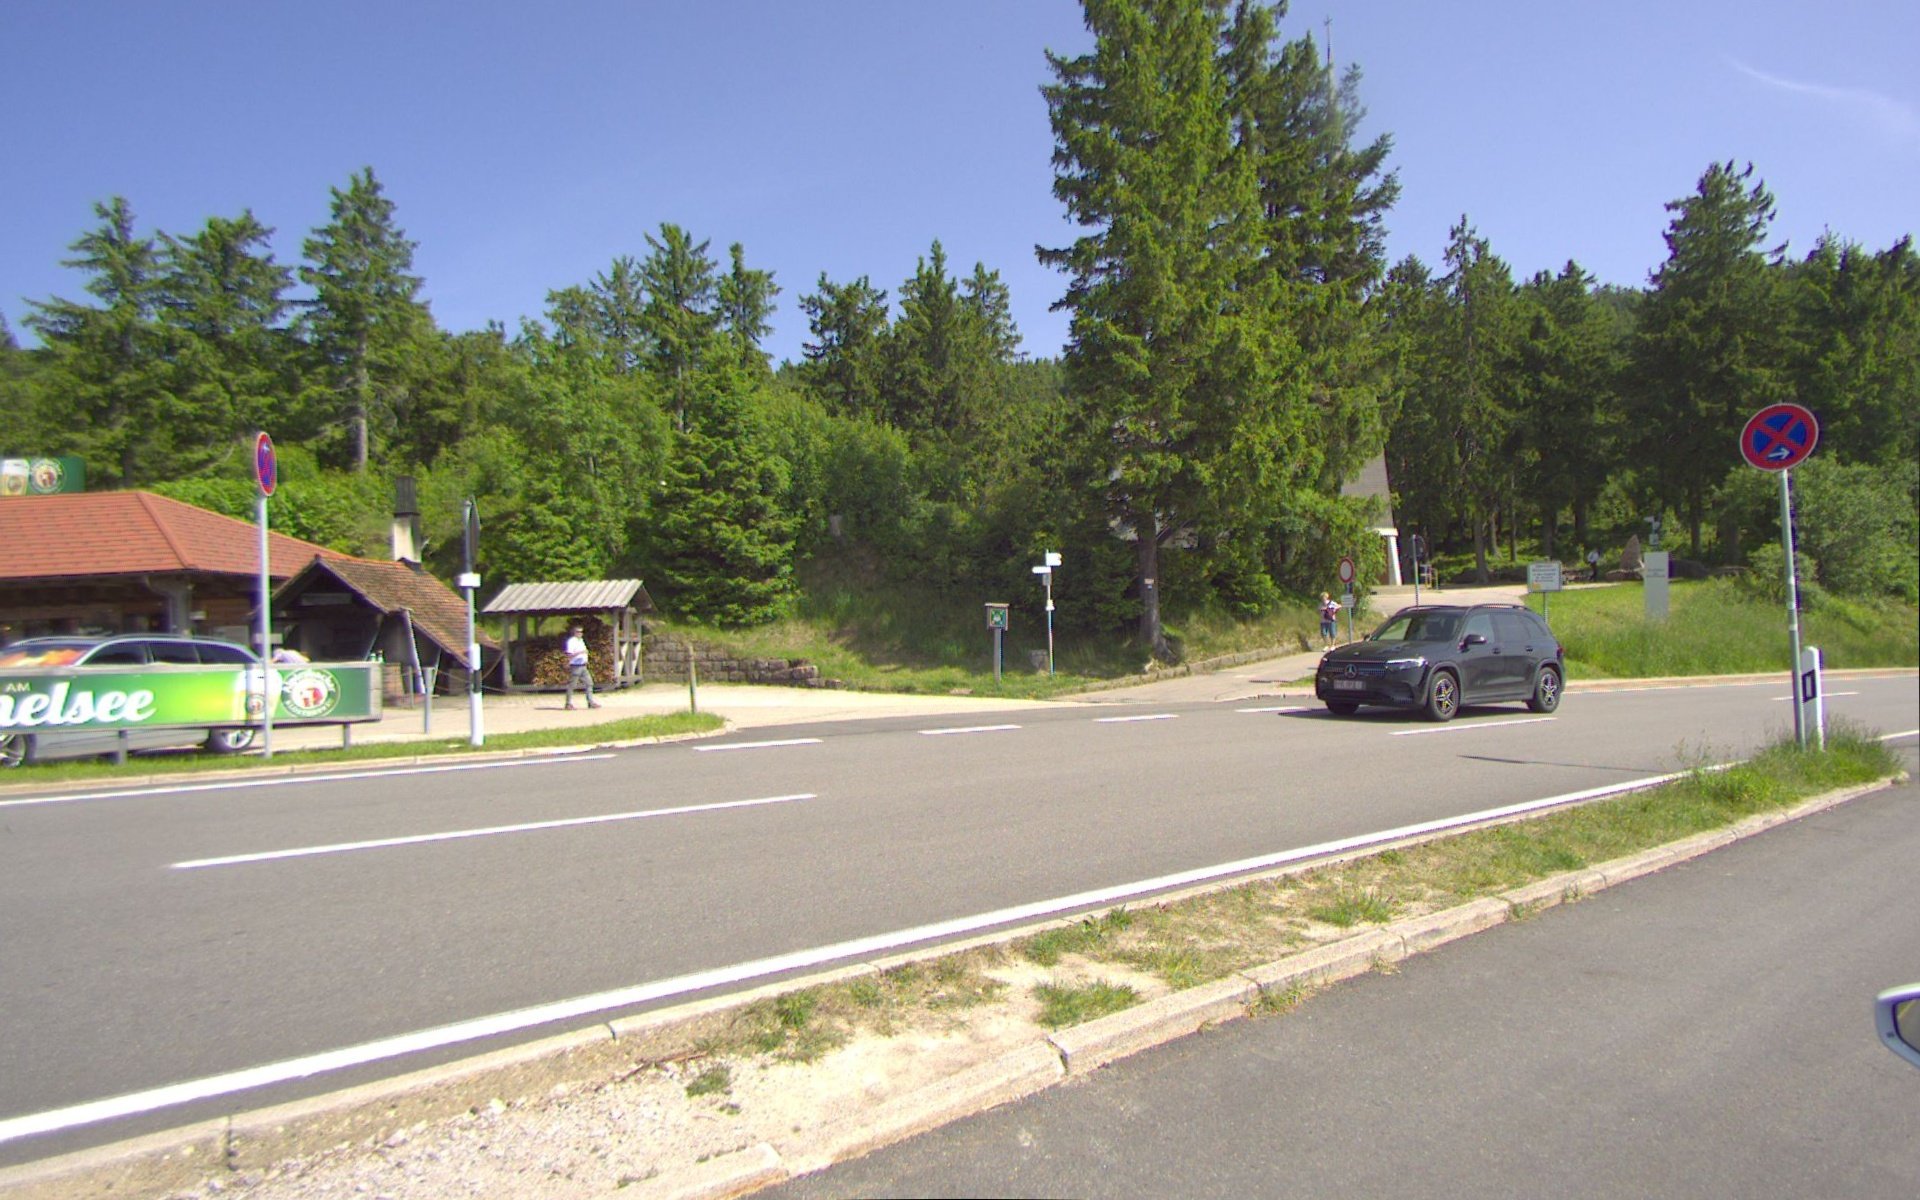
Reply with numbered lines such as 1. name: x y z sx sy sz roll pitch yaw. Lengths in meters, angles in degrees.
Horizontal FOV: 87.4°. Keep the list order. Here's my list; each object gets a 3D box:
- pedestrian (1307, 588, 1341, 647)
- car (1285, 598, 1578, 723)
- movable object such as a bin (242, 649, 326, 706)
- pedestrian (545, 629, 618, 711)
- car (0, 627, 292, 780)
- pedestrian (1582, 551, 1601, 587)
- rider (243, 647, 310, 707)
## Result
1. pedestrian: 10.828 0.527 29.889 0.678 1.703 0.713 1 -3 -44
2. car: 7.339 0.869 15.527 4.517 1.669 1.983 1 -2 -32
3. movable object such as a bin: -14.983 1.703 22.287 1.192 1.204 0.984 -1 -2 15
4. pedestrian: -8.194 1.500 21.782 1.139 1.720 0.980 -1 -2 14
5. car: -9.848 1.067 11.050 1.687 1.449 4.506 -1 -3 6
6. pedestrian: 33.779 -1.650 53.760 0.531 1.902 0.683 -1 -2 1
7. rider: -15.125 1.691 22.241 0.891 1.291 0.840 -1 -2 15
